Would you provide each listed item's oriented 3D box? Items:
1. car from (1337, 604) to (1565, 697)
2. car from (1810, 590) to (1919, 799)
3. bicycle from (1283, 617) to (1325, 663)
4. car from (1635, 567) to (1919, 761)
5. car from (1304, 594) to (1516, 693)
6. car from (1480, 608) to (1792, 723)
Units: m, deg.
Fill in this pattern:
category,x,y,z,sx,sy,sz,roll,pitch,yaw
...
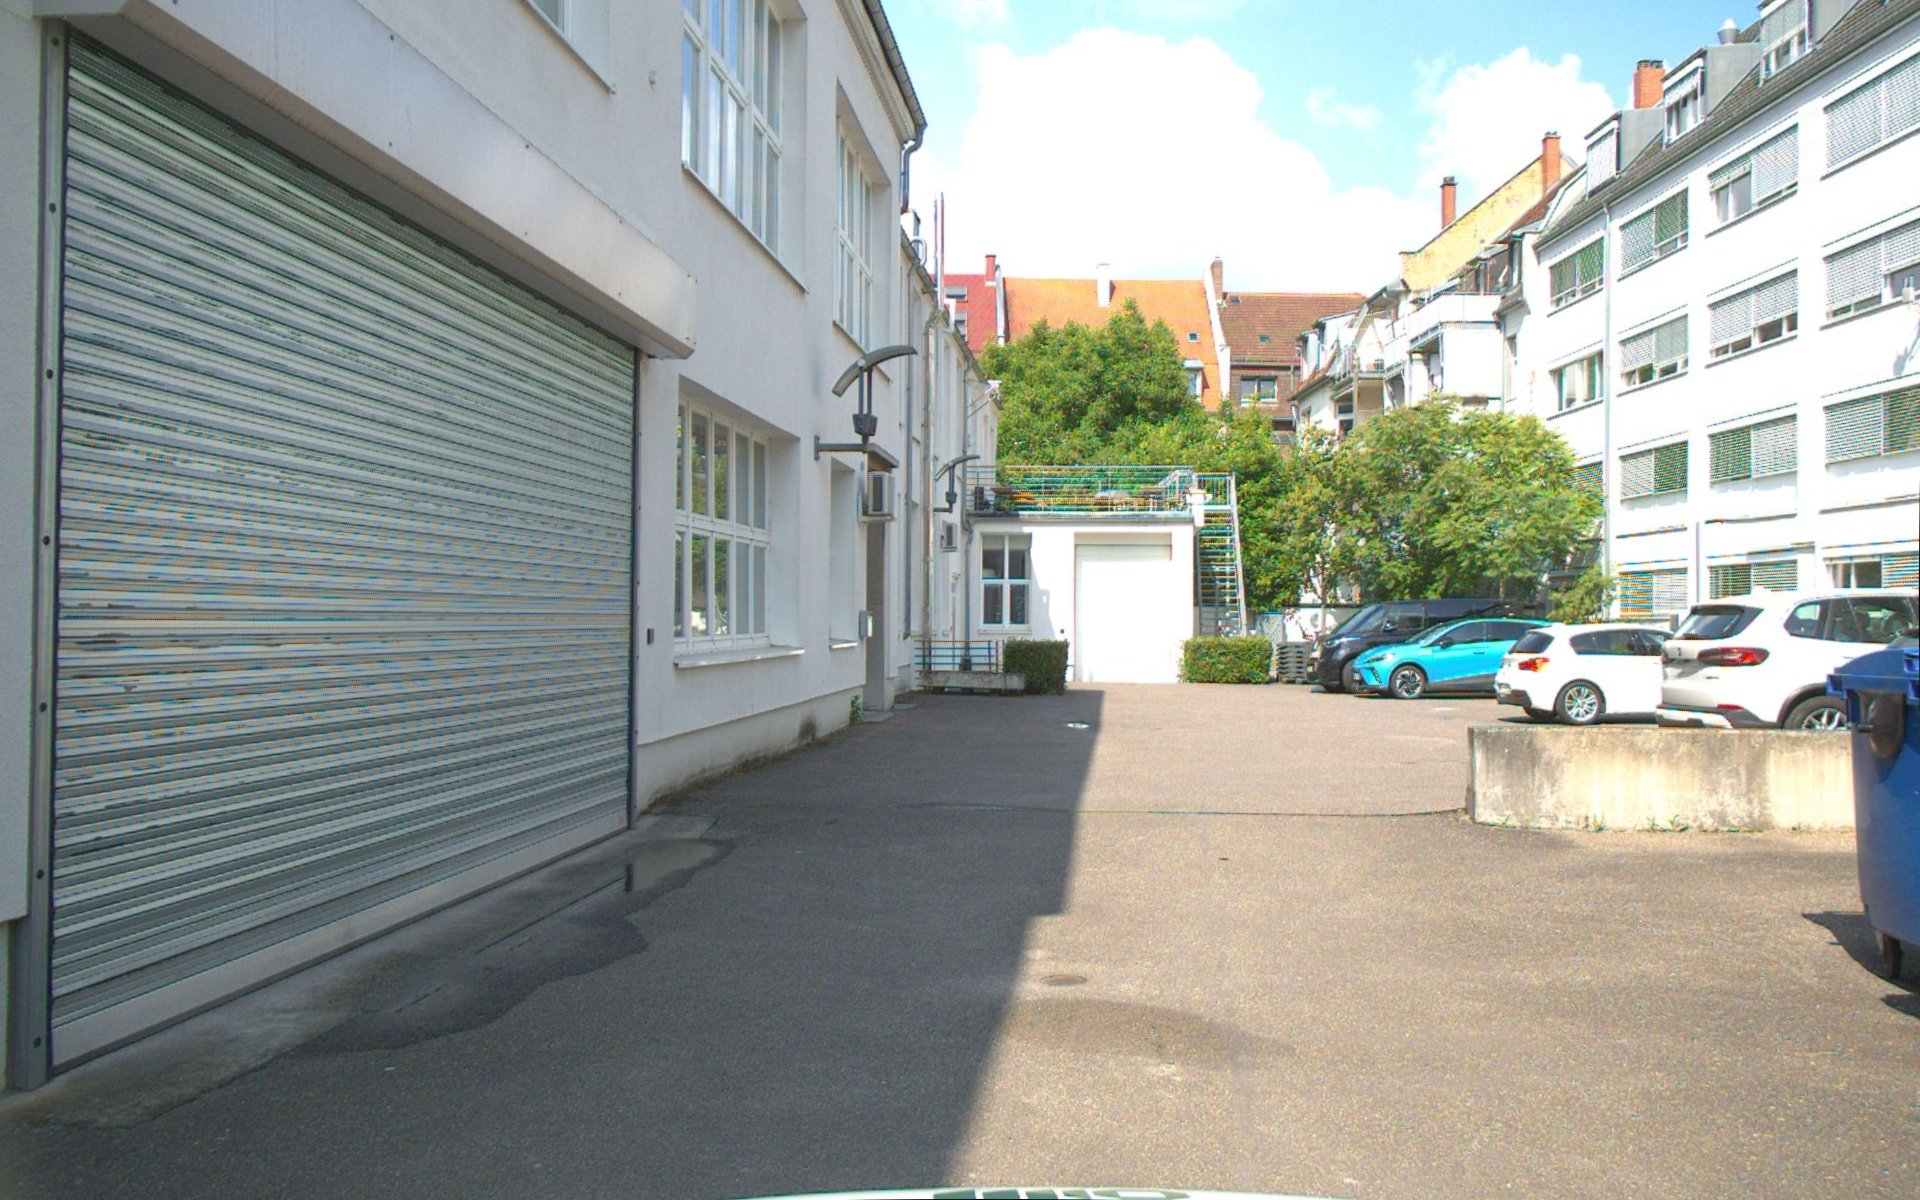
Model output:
category,x,y,z,sx,sy,sz,roll,pitch,yaw
car,9.363,0.944,31.707,3.905,1.601,1.629,-1,2,0
car,9.637,0.807,13.917,4.028,1.634,1.755,2,1,0
bicycle,9.166,1.051,44.141,0.628,1.137,1.857,2,1,-3
car,9.048,0.573,16.413,3.905,1.776,1.950,0,1,0
car,9.304,0.880,34.402,3.905,1.848,1.664,2,1,0
car,9.826,0.935,24.226,3.905,1.470,1.629,-1,2,0
